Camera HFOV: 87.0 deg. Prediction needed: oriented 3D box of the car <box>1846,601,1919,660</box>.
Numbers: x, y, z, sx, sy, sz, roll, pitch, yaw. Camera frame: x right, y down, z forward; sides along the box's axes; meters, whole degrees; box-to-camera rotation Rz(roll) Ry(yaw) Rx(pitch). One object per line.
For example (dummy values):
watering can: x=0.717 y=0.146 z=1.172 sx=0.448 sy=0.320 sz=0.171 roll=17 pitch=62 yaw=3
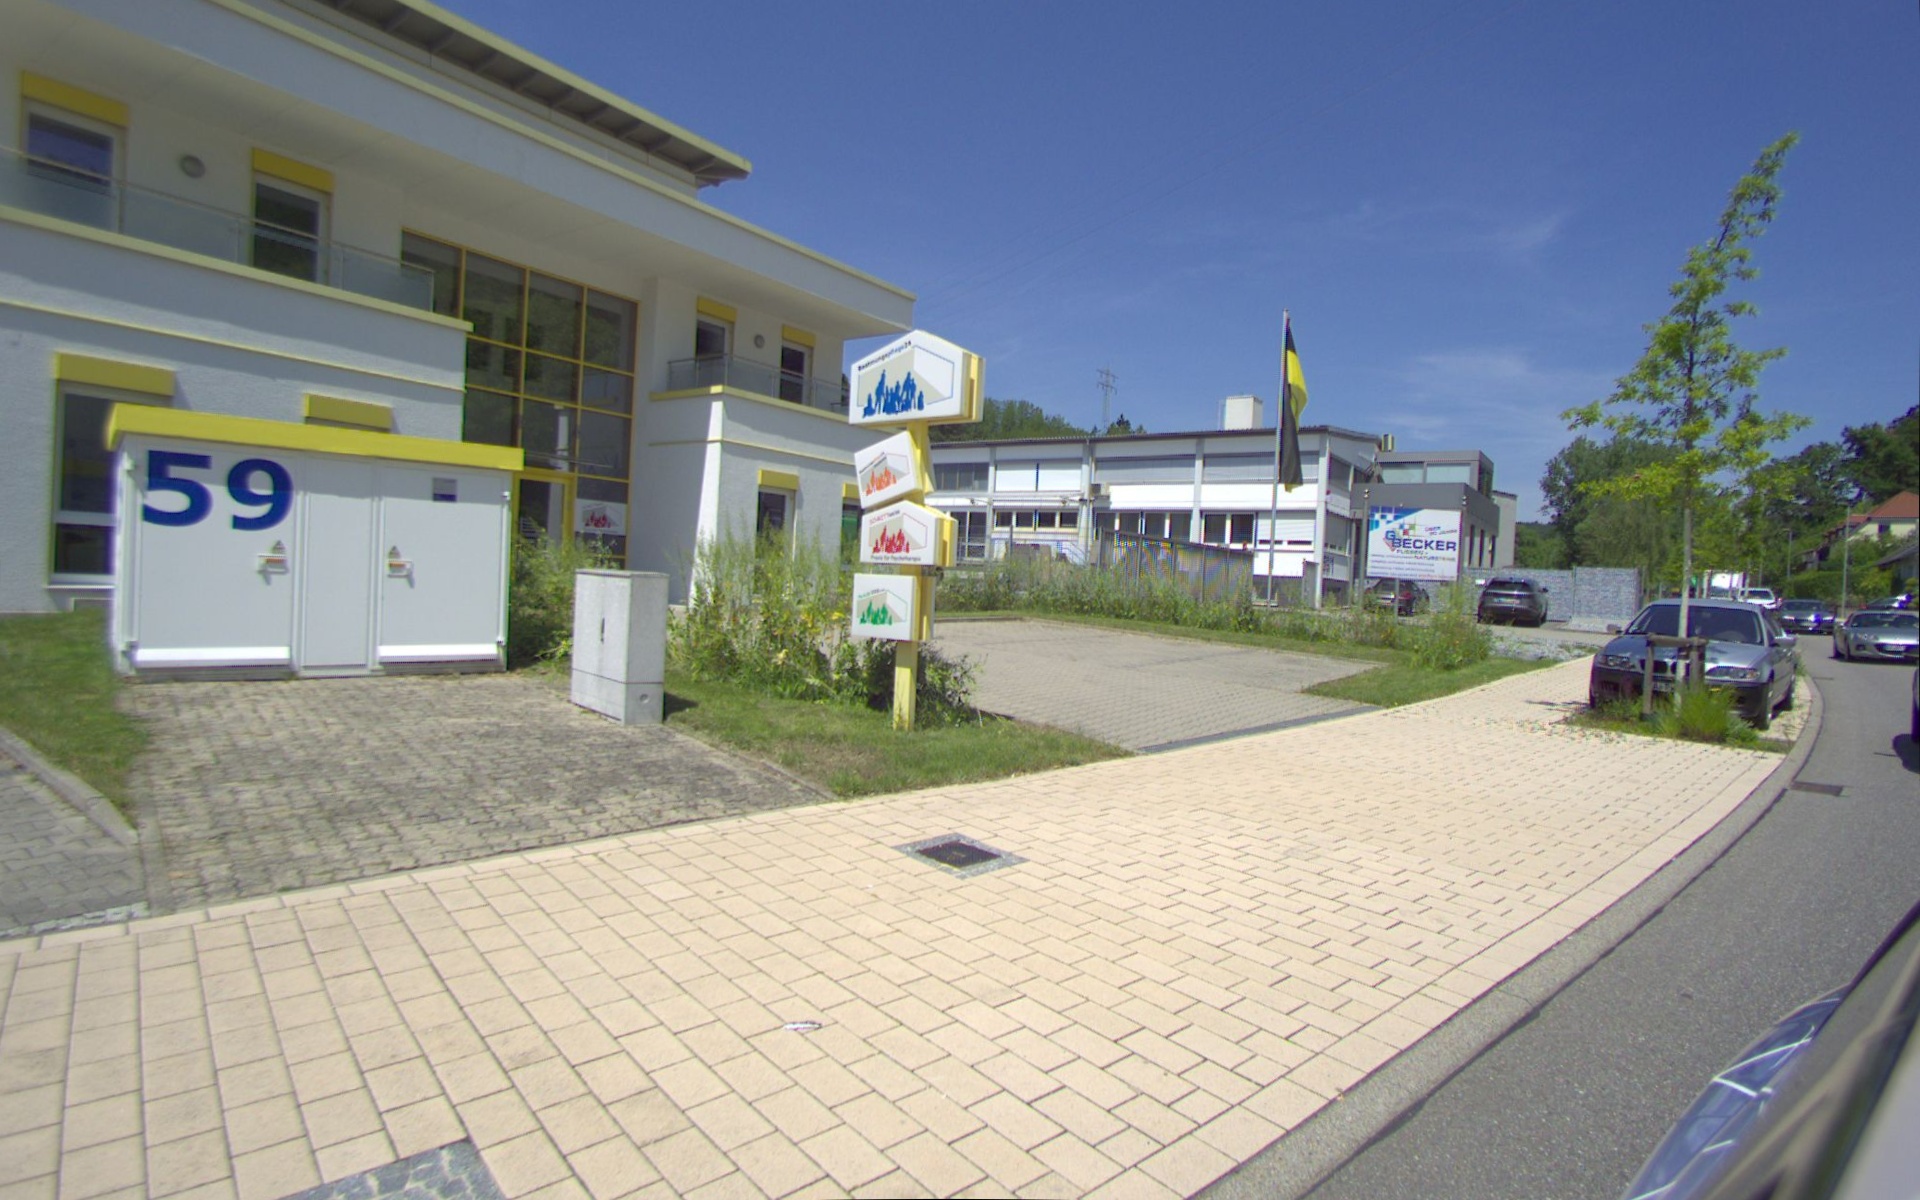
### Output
car: x=22.560 y=0.705 z=24.417 sx=1.661 sy=1.276 sz=3.500 roll=2 pitch=2 yaw=40

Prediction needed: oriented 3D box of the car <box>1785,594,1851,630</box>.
car: x=35.146 y=0.454 z=41.532 sx=1.902 sy=1.366 sz=3.944 roll=2 pitch=2 yaw=39

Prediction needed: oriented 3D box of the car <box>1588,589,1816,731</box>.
car: x=9.286 y=0.615 z=12.546 sx=1.672 sy=1.393 sz=3.935 roll=4 pitch=3 yaw=45

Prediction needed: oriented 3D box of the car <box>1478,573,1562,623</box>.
car: x=19.561 y=-0.112 z=35.270 sx=1.989 sy=1.504 sz=3.948 roll=6 pitch=4 yaw=36

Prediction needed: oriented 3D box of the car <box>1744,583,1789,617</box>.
car: x=48.402 y=-0.022 z=60.771 sx=1.960 sy=1.856 sz=4.402 roll=4 pitch=3 yaw=39

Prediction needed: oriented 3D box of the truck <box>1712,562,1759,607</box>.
truck: x=63.953 y=-1.255 z=83.449 sx=2.794 sy=3.455 sz=8.009 roll=4 pitch=3 yaw=38

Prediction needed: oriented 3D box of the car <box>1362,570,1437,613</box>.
car: x=16.486 y=-0.336 z=37.877 sx=1.736 sy=1.381 sz=3.791 roll=6 pitch=4 yaw=36

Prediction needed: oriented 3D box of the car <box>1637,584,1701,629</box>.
car: x=26.326 y=0.202 z=37.658 sx=1.639 sy=1.548 sz=3.821 roll=2 pitch=1 yaw=31
